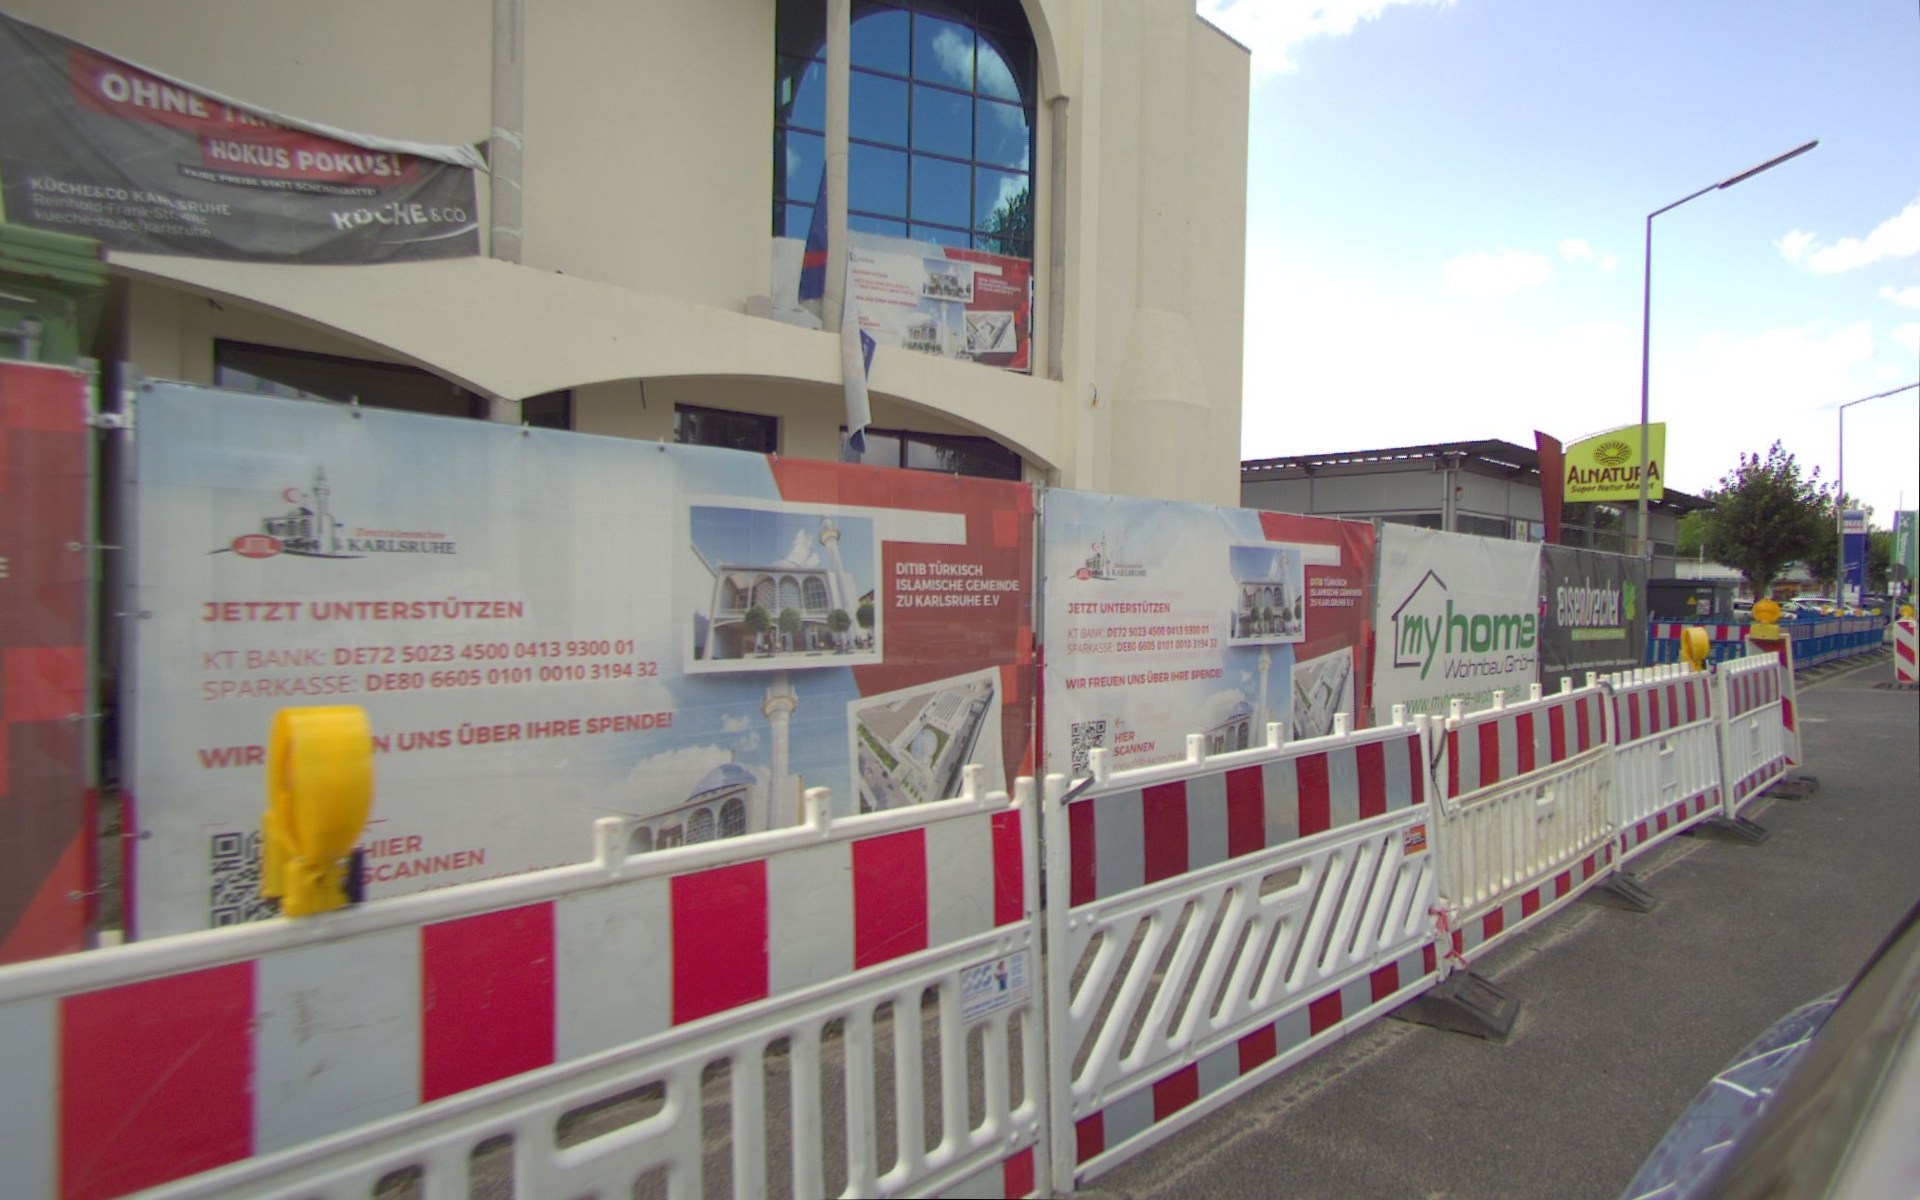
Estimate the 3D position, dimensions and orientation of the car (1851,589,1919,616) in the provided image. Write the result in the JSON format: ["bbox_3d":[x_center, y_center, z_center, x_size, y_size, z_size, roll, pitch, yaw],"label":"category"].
[{"bbox_3d":[58.850,0.147,63.852,3.884,1.541,1.722,3,2,43],"label":"car"}]

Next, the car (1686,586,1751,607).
[{"bbox_3d":[61.491,-0.322,82.089,1.696,1.502,3.939,0,2,-44],"label":"car"}]

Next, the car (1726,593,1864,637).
[{"bbox_3d":[34.145,0.569,41.446,1.956,1.481,4.109,0,3,-42],"label":"car"}]

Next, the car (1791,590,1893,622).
[{"bbox_3d":[47.177,0.304,54.164,1.767,1.428,3.956,0,3,-44],"label":"car"}]

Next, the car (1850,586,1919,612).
[{"bbox_3d":[70.657,-0.076,76.503,1.870,1.810,4.901,0,2,-42],"label":"car"}]

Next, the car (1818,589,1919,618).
[{"bbox_3d":[52.992,0.183,59.049,1.816,1.461,4.313,0,2,-43],"label":"car"}]

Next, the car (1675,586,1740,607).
[{"bbox_3d":[59.682,-0.304,80.801,1.696,1.502,3.939,0,2,-44],"label":"car"}]
